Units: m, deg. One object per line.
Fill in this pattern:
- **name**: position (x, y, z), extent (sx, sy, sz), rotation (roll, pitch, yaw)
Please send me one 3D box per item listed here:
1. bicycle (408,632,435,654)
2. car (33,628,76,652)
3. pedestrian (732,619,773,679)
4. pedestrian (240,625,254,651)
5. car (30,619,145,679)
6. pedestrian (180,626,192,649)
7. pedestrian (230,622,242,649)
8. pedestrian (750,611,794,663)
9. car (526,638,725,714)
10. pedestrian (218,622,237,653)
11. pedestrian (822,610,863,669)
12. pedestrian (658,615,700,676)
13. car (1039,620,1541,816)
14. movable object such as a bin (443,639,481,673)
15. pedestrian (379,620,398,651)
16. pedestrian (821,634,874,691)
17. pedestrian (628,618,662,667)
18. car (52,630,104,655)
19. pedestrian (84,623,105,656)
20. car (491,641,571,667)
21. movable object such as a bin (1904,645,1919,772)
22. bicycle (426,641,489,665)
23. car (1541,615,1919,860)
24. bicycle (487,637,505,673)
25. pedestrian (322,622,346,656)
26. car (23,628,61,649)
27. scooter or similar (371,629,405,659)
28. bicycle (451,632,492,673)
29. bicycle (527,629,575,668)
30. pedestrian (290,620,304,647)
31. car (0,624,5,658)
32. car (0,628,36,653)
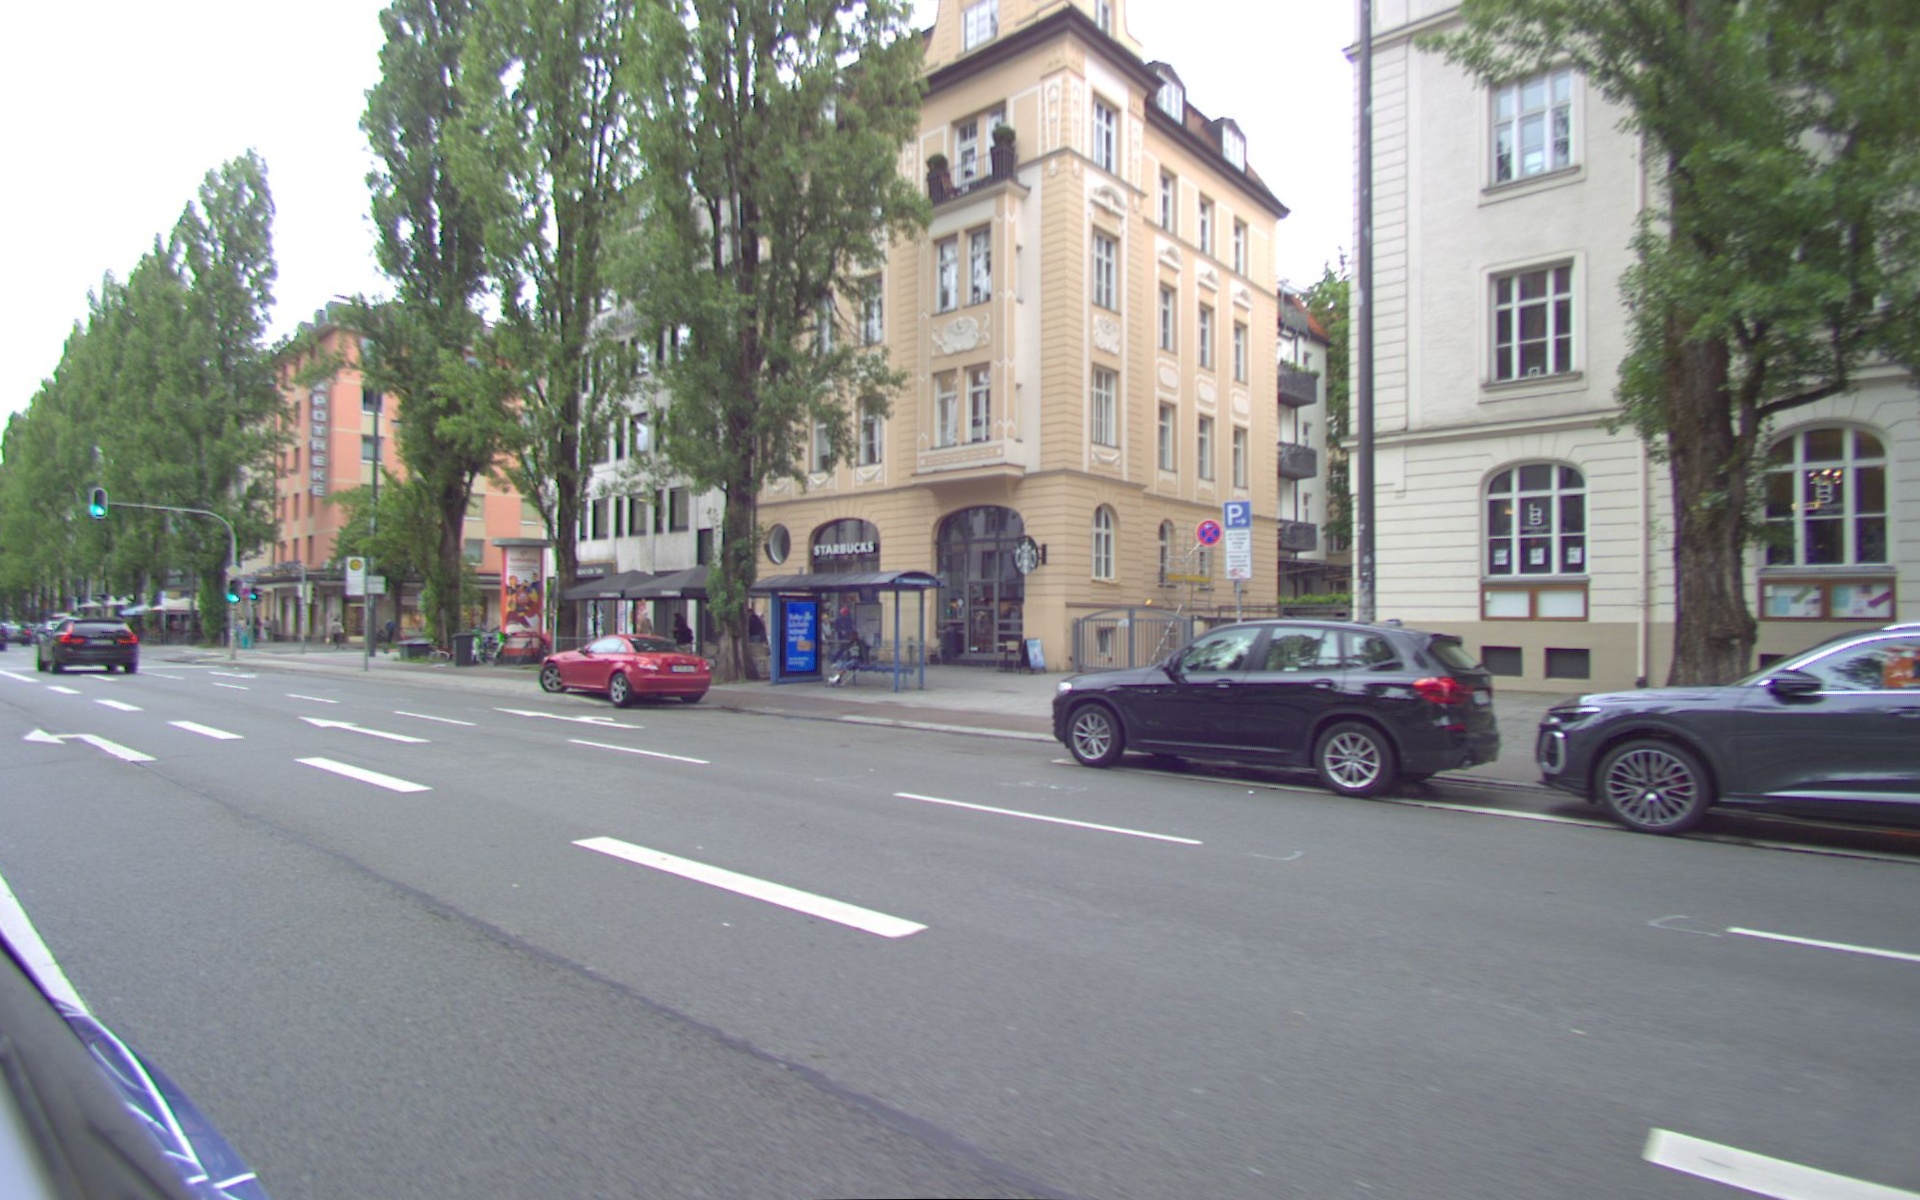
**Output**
- **bicycle**: position (-30.416, 2.415, 57.147), extent (2.058, 1.193, 0.411), rotation (-1, -2, 35)
- **car**: position (-60.592, 2.658, 67.719), extent (4.094, 1.595, 1.685), rotation (-1, -2, 42)
- **pedestrian**: position (-6.160, 1.437, 30.030), extent (0.895, 1.757, 0.821), rotation (1, -2, -44)
- **pedestrian**: position (-46.039, 2.448, 65.372), extent (0.519, 1.701, 0.623), rotation (-1, -1, 42)
- **car**: position (-25.577, 1.421, 29.624), extent (4.334, 1.636, 1.915), rotation (-1, -4, 41)
- **pedestrian**: position (-59.591, 2.866, 77.917), extent (0.692, 1.731, 0.549), rotation (-2, -2, 41)
- **pedestrian**: position (-46.341, 2.270, 64.744), extent (0.626, 1.683, 0.501), rotation (-2, -2, 43)
- **pedestrian**: position (-6.363, 1.227, 34.297), extent (0.989, 1.697, 1.070), rotation (-1, -1, 43)
- **car**: position (-6.648, 1.413, 19.945), extent (4.091, 1.308, 1.860), rotation (-1, -2, 40)
- **pedestrian**: position (-41.768, 2.133, 57.710), extent (0.778, 1.784, 0.716), rotation (-2, -2, 42)
- **pedestrian**: position (-3.456, 1.155, 29.793), extent (0.977, 1.694, 0.724), rotation (-2, -1, 41)
- **pedestrian**: position (-8.259, 1.333, 29.739), extent (0.895, 1.757, 0.821), rotation (3, -4, -44)
- **car**: position (3.257, 1.043, 10.655), extent (4.712, 1.630, 1.801), rotation (-1, -2, 41)
- **movable object such as a bin**: position (-16.156, 1.803, 32.845), extent (0.847, 1.049, 0.722), rotation (-1, 0, 12)
- **pedestrian**: position (-32.780, 2.044, 58.058), extent (0.692, 1.780, 0.770), rotation (-2, -2, 41)
- **pedestrian**: position (-2.608, 1.433, 23.404), extent (0.757, 1.266, 0.950), rotation (-2, -1, 43)
- **pedestrian**: position (-11.617, 1.537, 37.319), extent (0.954, 1.757, 0.834), rotation (-1, -1, 42)
- **car**: position (-54.863, 2.656, 62.947), extent (4.586, 1.449, 1.686), rotation (-1, -3, 40)
- **pedestrian**: position (-49.048, 2.212, 57.353), extent (0.725, 1.809, 0.995), rotation (0, 0, -31)
- **car**: position (-24.833, 3.092, 58.631), extent (3.937, 1.431, 1.784), rotation (1, -2, -40)
- **movable object such as a bin**: position (10.505, 1.153, 10.801), extent (0.586, 1.326, 0.598), rotation (-2, -2, 42)
- **bicycle**: position (-18.266, 1.922, 36.834), extent (0.827, 0.514, 1.939), rotation (22, 9, 21)
- **car**: position (6.995, 0.934, 7.270), extent (4.630, 1.607, 1.784), rotation (-1, -3, 42)
- **bicycle**: position (-15.197, 1.790, 33.150), extent (0.499, 1.096, 1.815), rotation (0, 0, -25)
- **pedestrian**: position (-30.952, 1.925, 50.029), extent (0.934, 1.631, 0.770), rotation (-2, -2, 41)
- **car**: position (-64.990, 2.693, 71.604), extent (4.185, 1.392, 1.478), rotation (-1, -3, 41)
- **scooter or similar**: position (-26.761, 2.049, 47.343), extent (1.341, 1.349, 0.439), rotation (1, -2, -29)
- **bicycle**: position (-16.685, 1.786, 34.639), extent (0.501, 1.299, 1.955), rotation (-1, 0, -2)
- **bicycle**: position (-13.980, 1.639, 34.619), extent (0.579, 1.311, 1.948), rotation (0, -2, 10)
- **pedestrian**: position (-42.563, 2.132, 64.982), extent (0.514, 1.704, 0.580), rotation (-1, -2, 41)
- **car**: position (-50.328, 2.050, 51.581), extent (4.584, 1.693, 1.893), rotation (-1, -4, 41)
- **car**: position (-58.404, 2.491, 62.359), extent (3.994, 1.450, 1.625), rotation (-1, -3, 41)
